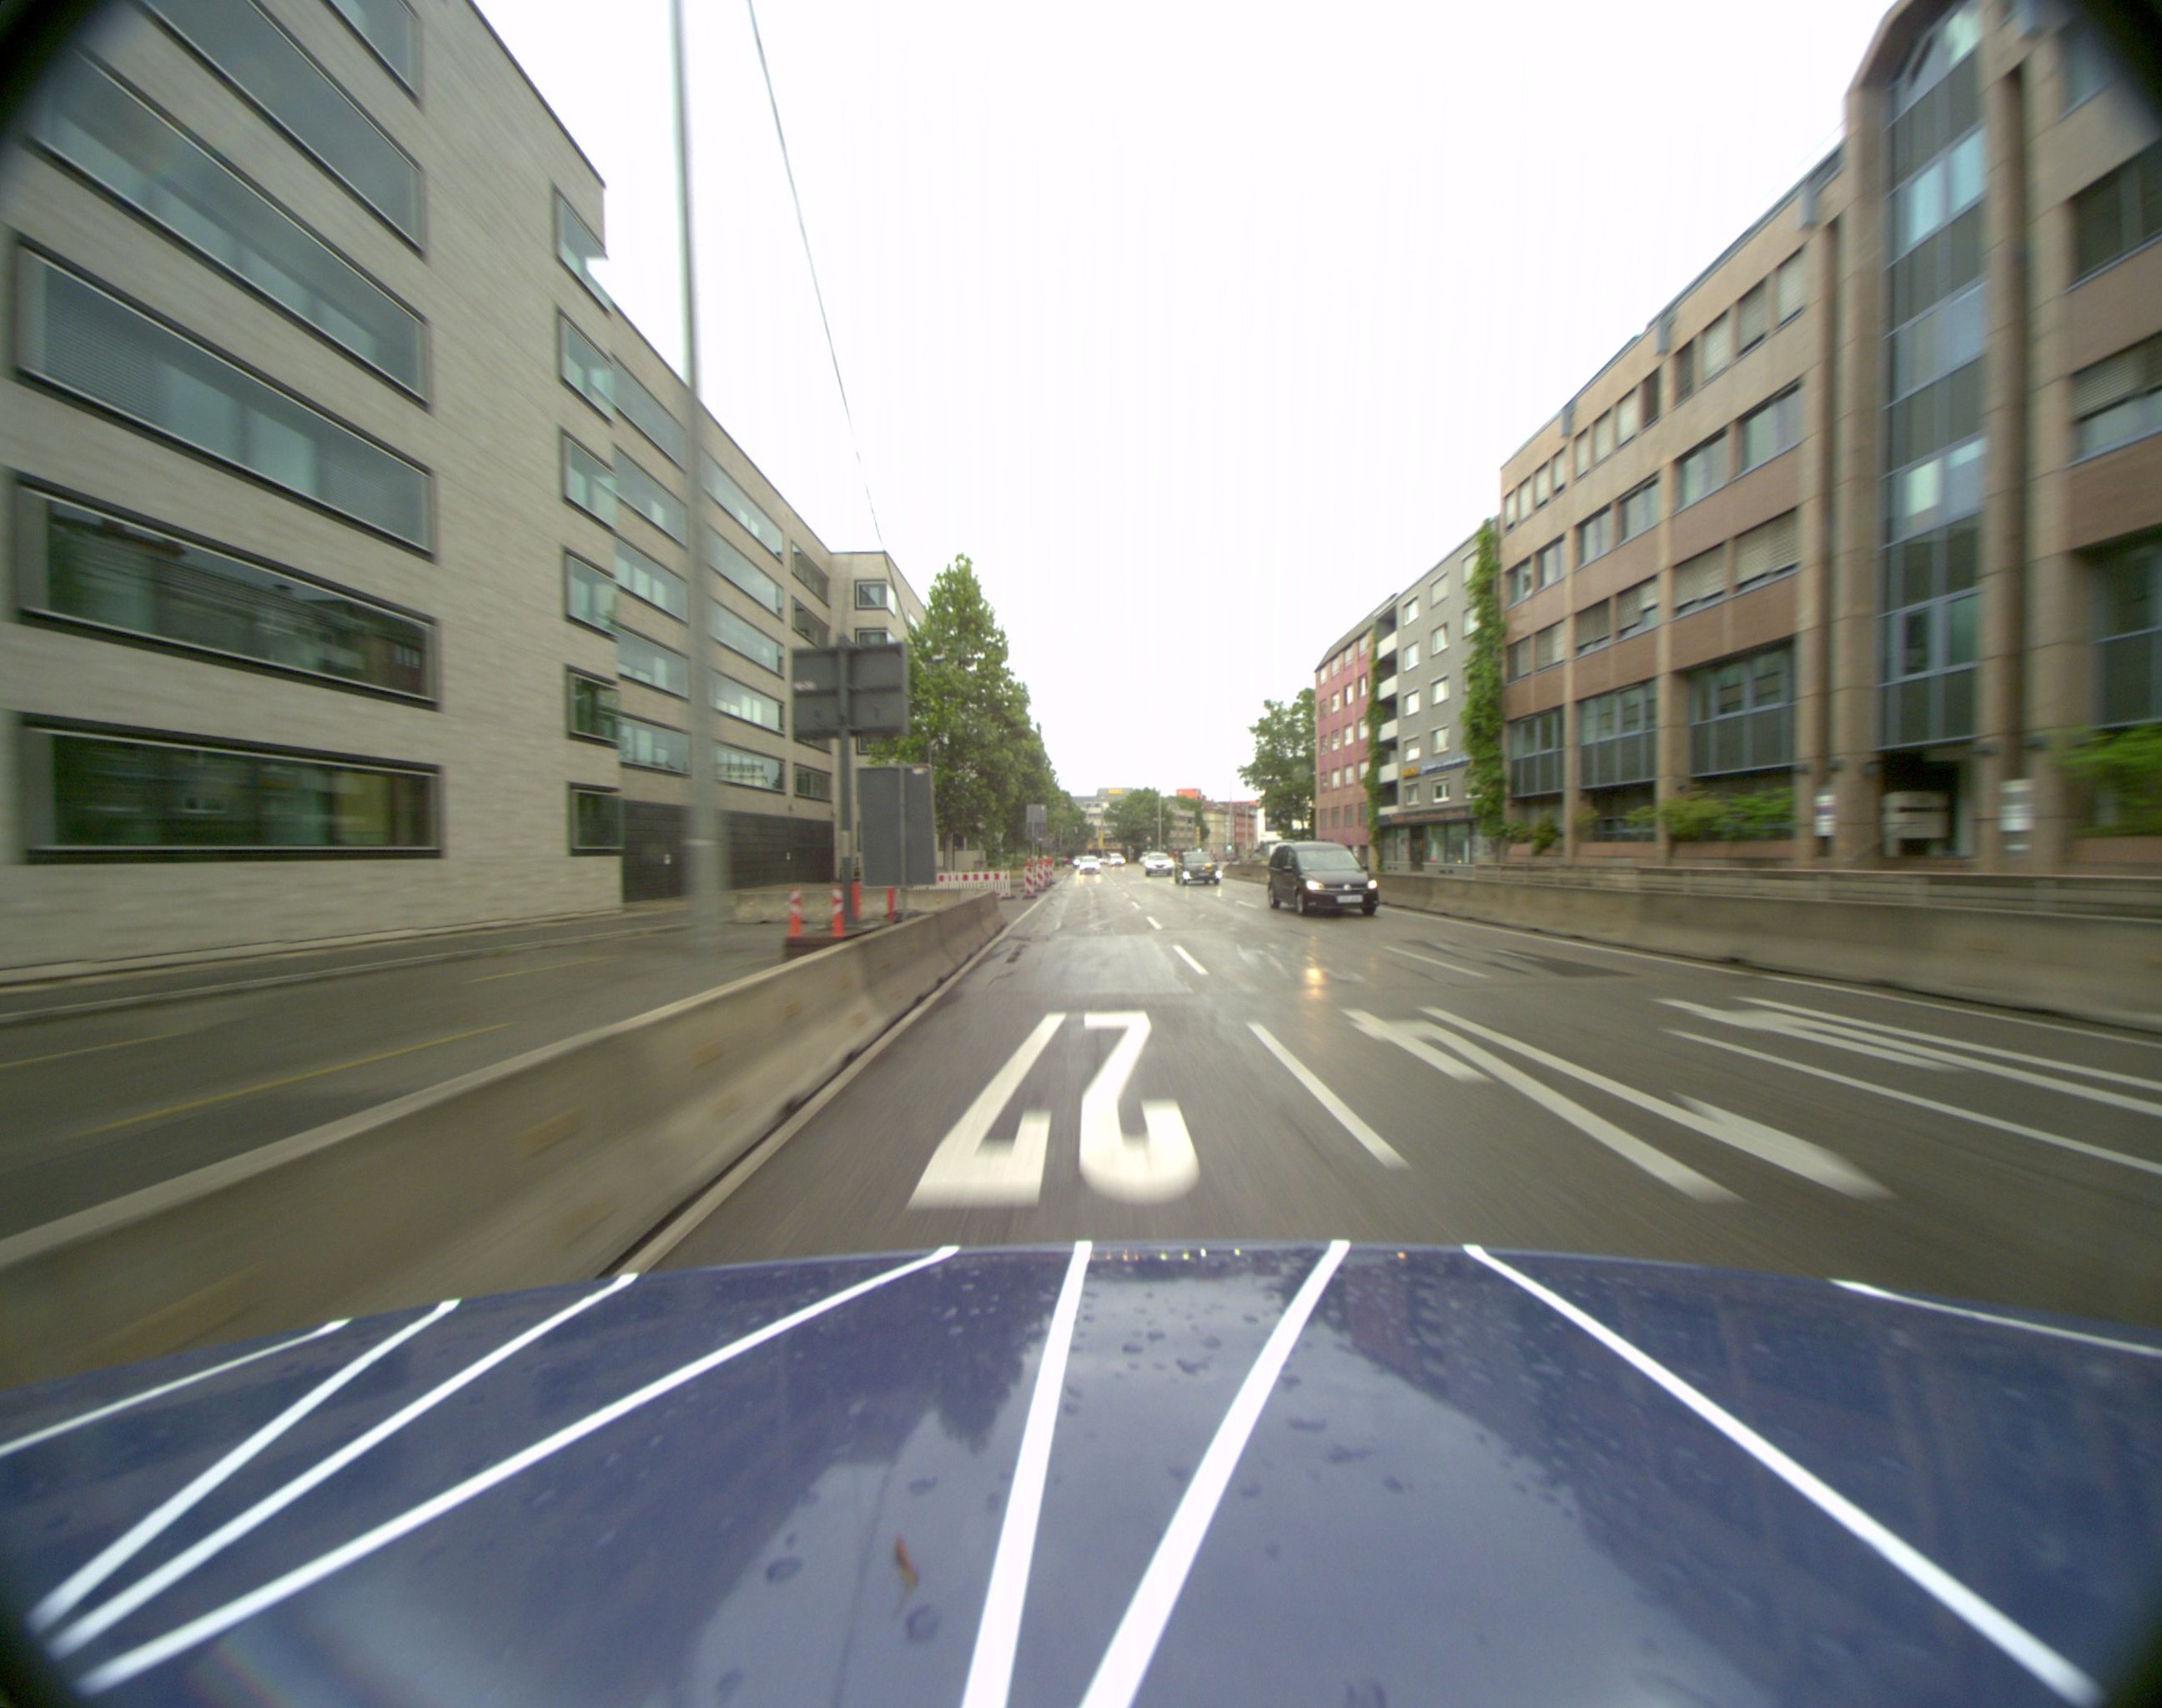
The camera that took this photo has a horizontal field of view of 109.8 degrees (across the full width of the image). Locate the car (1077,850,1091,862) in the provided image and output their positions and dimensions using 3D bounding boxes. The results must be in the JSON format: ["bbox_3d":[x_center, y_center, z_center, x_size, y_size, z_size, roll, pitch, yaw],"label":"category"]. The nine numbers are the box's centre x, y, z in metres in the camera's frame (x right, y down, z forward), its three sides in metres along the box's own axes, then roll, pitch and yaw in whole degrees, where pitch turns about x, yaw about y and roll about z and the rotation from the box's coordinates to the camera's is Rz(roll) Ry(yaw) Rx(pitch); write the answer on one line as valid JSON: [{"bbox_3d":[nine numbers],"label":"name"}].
[{"bbox_3d":[0.473,0.278,99.569,1.772,1.524,4.656,-1,0,1],"label":"car"}]

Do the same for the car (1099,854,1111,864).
[{"bbox_3d":[3.844,0.800,123.527,1.772,1.524,4.656,-1,0,1],"label":"car"}]

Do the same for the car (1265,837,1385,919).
[{"bbox_3d":[5.933,0.527,19.015,1.798,1.790,4.251,-1,0,3],"label":"car"}]

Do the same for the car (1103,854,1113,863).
[{"bbox_3d":[4.856,0.779,137.944,1.772,1.524,4.656,-1,0,1],"label":"car"}]

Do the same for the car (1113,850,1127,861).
[{"bbox_3d":[5.448,0.208,105.983,1.772,1.524,4.656,-1,0,1],"label":"car"}]

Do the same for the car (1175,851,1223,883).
[{"bbox_3d":[5.826,0.607,38.054,1.772,1.524,4.356,-1,0,1],"label":"car"}]

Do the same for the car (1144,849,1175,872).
[{"bbox_3d":[5.609,0.430,54.604,1.772,1.524,4.656,-1,0,1],"label":"car"}]

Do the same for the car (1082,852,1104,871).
[{"bbox_3d":[1.055,0.613,66.306,1.772,1.524,4.656,-1,0,1],"label":"car"}]
